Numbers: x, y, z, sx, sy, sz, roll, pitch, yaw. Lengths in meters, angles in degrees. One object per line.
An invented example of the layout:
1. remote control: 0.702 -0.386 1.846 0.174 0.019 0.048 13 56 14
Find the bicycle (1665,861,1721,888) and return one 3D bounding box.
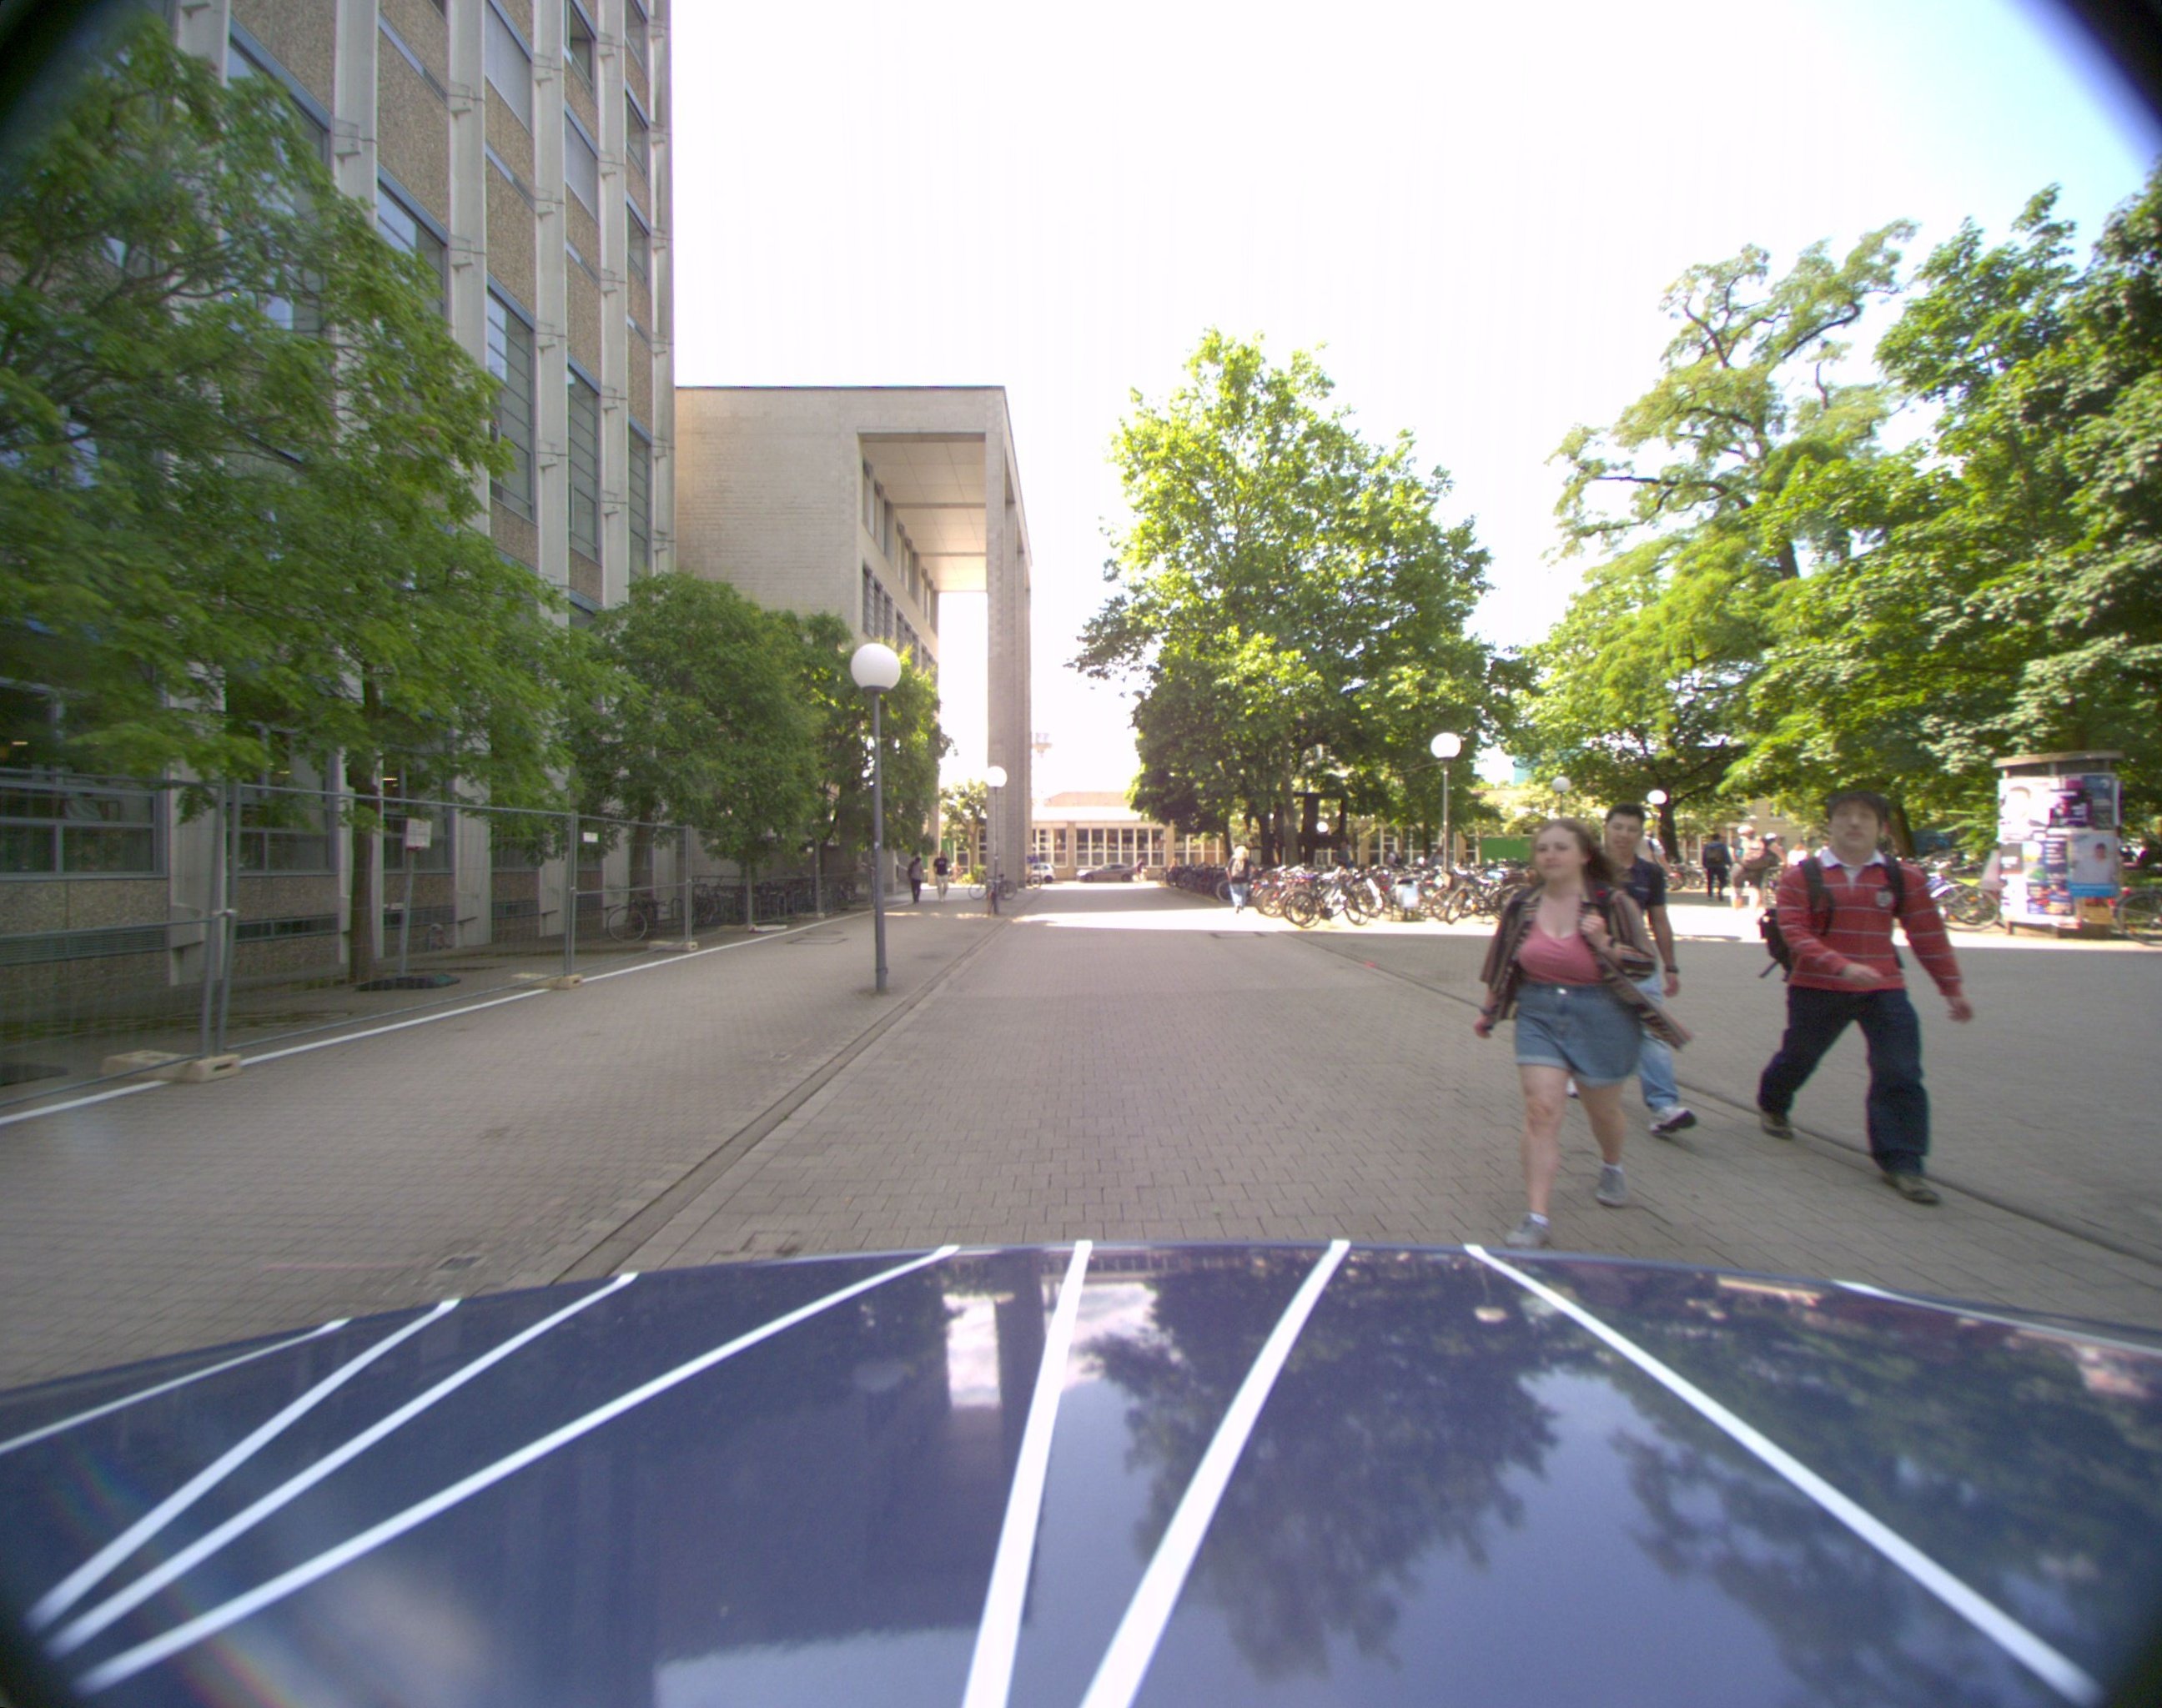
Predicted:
1. bicycle: 24.906 0.811 30.944 0.475 1.077 1.696 -2 1 -29

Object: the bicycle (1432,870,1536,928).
1. bicycle: 7.826 0.872 14.823 1.721 1.077 0.474 -1 1 15

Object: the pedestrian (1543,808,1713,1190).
1. pedestrian: 2.996 0.699 4.209 0.684 1.824 0.943 0 0 34

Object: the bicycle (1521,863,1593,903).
1. bicycle: 13.459 0.814 21.493 1.695 1.077 0.475 -1 1 35

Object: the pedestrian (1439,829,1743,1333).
1. pedestrian: 1.915 0.782 2.966 0.685 1.714 0.731 -2 1 5

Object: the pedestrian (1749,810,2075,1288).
1. pedestrian: 3.546 0.709 3.369 0.717 1.714 1.067 0 0 33

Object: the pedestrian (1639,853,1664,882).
1. pedestrian: 33.367 0.770 44.437 0.874 1.674 0.728 0 0 -3

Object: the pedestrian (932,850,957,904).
1. pedestrian: -4.662 0.766 25.895 0.703 1.792 0.881 0 0 -18

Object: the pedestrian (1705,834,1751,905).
1. pedestrian: 16.912 0.385 19.883 0.832 1.804 0.884 -1 0 37

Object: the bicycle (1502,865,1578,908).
1. bicycle: 12.208 0.850 20.245 1.695 1.077 0.475 -1 1 35

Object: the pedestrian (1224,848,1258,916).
1. pedestrian: 4.010 0.698 19.055 0.768 1.669 0.908 -1 -1 14

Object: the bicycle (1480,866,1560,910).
1. bicycle: 11.108 0.850 19.245 1.695 1.077 0.475 -1 1 35

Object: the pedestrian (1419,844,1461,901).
1. pedestrian: 10.944 0.555 23.149 0.771 1.693 0.904 -2 0 -40

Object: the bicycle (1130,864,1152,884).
1. bicycle: 3.677 1.194 46.238 0.772 1.144 2.111 1 1 21

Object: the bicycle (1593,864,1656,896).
1. bicycle: 18.798 0.886 26.310 0.475 1.077 1.695 -2 1 -39

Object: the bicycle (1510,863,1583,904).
1. bicycle: 12.920 0.815 21.118 1.695 1.077 0.475 -1 1 35

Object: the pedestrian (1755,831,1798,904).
1. pedestrian: 17.683 0.340 19.332 0.768 1.793 0.986 -1 0 41

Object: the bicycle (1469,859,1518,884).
1. bicycle: 19.207 0.799 35.423 0.503 1.101 2.001 -2 0 -30

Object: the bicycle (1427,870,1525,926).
1. bicycle: 7.953 0.884 15.346 1.696 1.077 0.475 -1 1 20

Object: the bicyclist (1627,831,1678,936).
1. bicyclist: 8.847 0.443 11.784 0.594 1.559 0.723 -1 1 36

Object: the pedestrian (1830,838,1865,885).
1. pedestrian: 29.297 0.291 29.027 0.908 1.764 0.768 -1 0 -33

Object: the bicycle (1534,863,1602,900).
1. bicycle: 14.555 0.810 22.723 1.695 1.077 0.475 -1 1 35

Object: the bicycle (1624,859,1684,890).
1. bicycle: 21.302 0.752 28.273 0.475 1.077 1.695 -2 1 -39

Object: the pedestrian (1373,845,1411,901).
1. pedestrian: 9.716 0.578 23.756 0.904 1.693 0.771 -1 0 37

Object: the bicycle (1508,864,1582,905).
1. bicycle: 12.639 0.819 20.713 1.695 1.077 0.475 -1 1 35

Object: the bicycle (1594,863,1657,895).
1. bicycle: 19.096 0.864 26.675 0.475 1.077 1.695 -2 1 -39

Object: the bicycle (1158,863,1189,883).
1. bicycle: 5.037 1.027 41.280 1.628 1.101 0.497 0 -2 0

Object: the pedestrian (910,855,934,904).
1. pedestrian: -5.429 0.849 25.905 0.703 1.645 0.881 0 0 -18

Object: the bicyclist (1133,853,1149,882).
1. bicyclist: 3.659 0.795 46.197 0.772 1.706 0.912 1 1 21

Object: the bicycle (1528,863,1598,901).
1. bicycle: 14.139 0.814 22.301 1.695 1.077 0.475 -1 1 35

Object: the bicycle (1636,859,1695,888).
1. bicycle: 22.146 0.724 28.822 0.475 1.077 1.695 -2 1 -39

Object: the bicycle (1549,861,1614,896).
1. bicycle: 16.176 0.785 24.589 0.475 1.077 1.695 -2 1 -39

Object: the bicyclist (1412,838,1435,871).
1. bicyclist: 19.975 0.048 44.305 0.869 1.880 0.803 -2 -1 -31

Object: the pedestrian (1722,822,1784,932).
1. pedestrian: 11.660 0.388 13.210 0.612 1.825 1.052 0 1 31

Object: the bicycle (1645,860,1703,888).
1. bicycle: 23.153 0.768 29.690 0.475 1.077 1.695 -2 1 -39

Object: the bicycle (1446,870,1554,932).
1. bicycle: 7.828 0.880 14.261 1.696 1.104 0.474 -1 1 13

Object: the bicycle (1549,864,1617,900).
1. bicycle: 15.560 0.857 23.565 1.695 1.077 0.475 -1 1 43

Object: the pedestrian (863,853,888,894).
1. pedestrian: -9.333 0.859 34.530 0.960 1.803 0.769 -2 1 -11

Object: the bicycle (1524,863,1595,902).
1. bicycle: 13.788 0.809 21.906 1.695 1.077 0.475 -1 1 35

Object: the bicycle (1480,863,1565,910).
1. bicycle: 10.582 0.773 18.247 1.695 1.077 0.475 -1 1 38

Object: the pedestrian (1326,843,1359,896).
1. pedestrian: 9.096 0.529 26.443 0.771 1.796 0.708 -1 0 -33

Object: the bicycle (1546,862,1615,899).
1. bicycle: 15.200 0.807 23.169 1.695 1.077 0.475 -1 1 43

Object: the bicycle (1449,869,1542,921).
1. bicycle: 9.025 0.868 16.577 1.695 1.077 0.475 -1 1 41

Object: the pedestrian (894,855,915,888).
1. pedestrian: -8.498 0.833 36.551 0.809 1.608 0.739 0 0 -29

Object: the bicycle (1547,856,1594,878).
1. bicycle: 24.910 0.658 38.718 0.503 1.101 2.026 -2 0 -27

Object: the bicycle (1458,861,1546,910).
1. bicycle: 9.686 0.705 17.517 1.695 1.077 0.475 -1 1 41

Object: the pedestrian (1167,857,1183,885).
1. pedestrian: 5.469 0.979 44.127 0.881 1.645 0.703 0 0 12

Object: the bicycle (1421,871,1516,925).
1. bicycle: 8.062 0.910 15.861 1.696 1.077 0.475 -1 1 20

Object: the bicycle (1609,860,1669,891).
1. bicycle: 20.400 0.776 27.800 0.475 1.077 1.695 -2 1 -39

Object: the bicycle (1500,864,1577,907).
1. bicycle: 11.933 0.807 19.837 1.695 1.077 0.475 -1 1 35

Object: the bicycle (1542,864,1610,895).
1. bicycle: 15.794 0.798 24.280 0.453 0.956 1.735 -2 1 -39

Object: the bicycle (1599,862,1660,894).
1. bicycle: 19.483 0.842 27.023 0.475 1.077 1.695 -2 1 -39

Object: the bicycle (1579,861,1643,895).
1. bicycle: 17.857 0.798 25.613 0.475 1.077 1.695 -2 1 -39
